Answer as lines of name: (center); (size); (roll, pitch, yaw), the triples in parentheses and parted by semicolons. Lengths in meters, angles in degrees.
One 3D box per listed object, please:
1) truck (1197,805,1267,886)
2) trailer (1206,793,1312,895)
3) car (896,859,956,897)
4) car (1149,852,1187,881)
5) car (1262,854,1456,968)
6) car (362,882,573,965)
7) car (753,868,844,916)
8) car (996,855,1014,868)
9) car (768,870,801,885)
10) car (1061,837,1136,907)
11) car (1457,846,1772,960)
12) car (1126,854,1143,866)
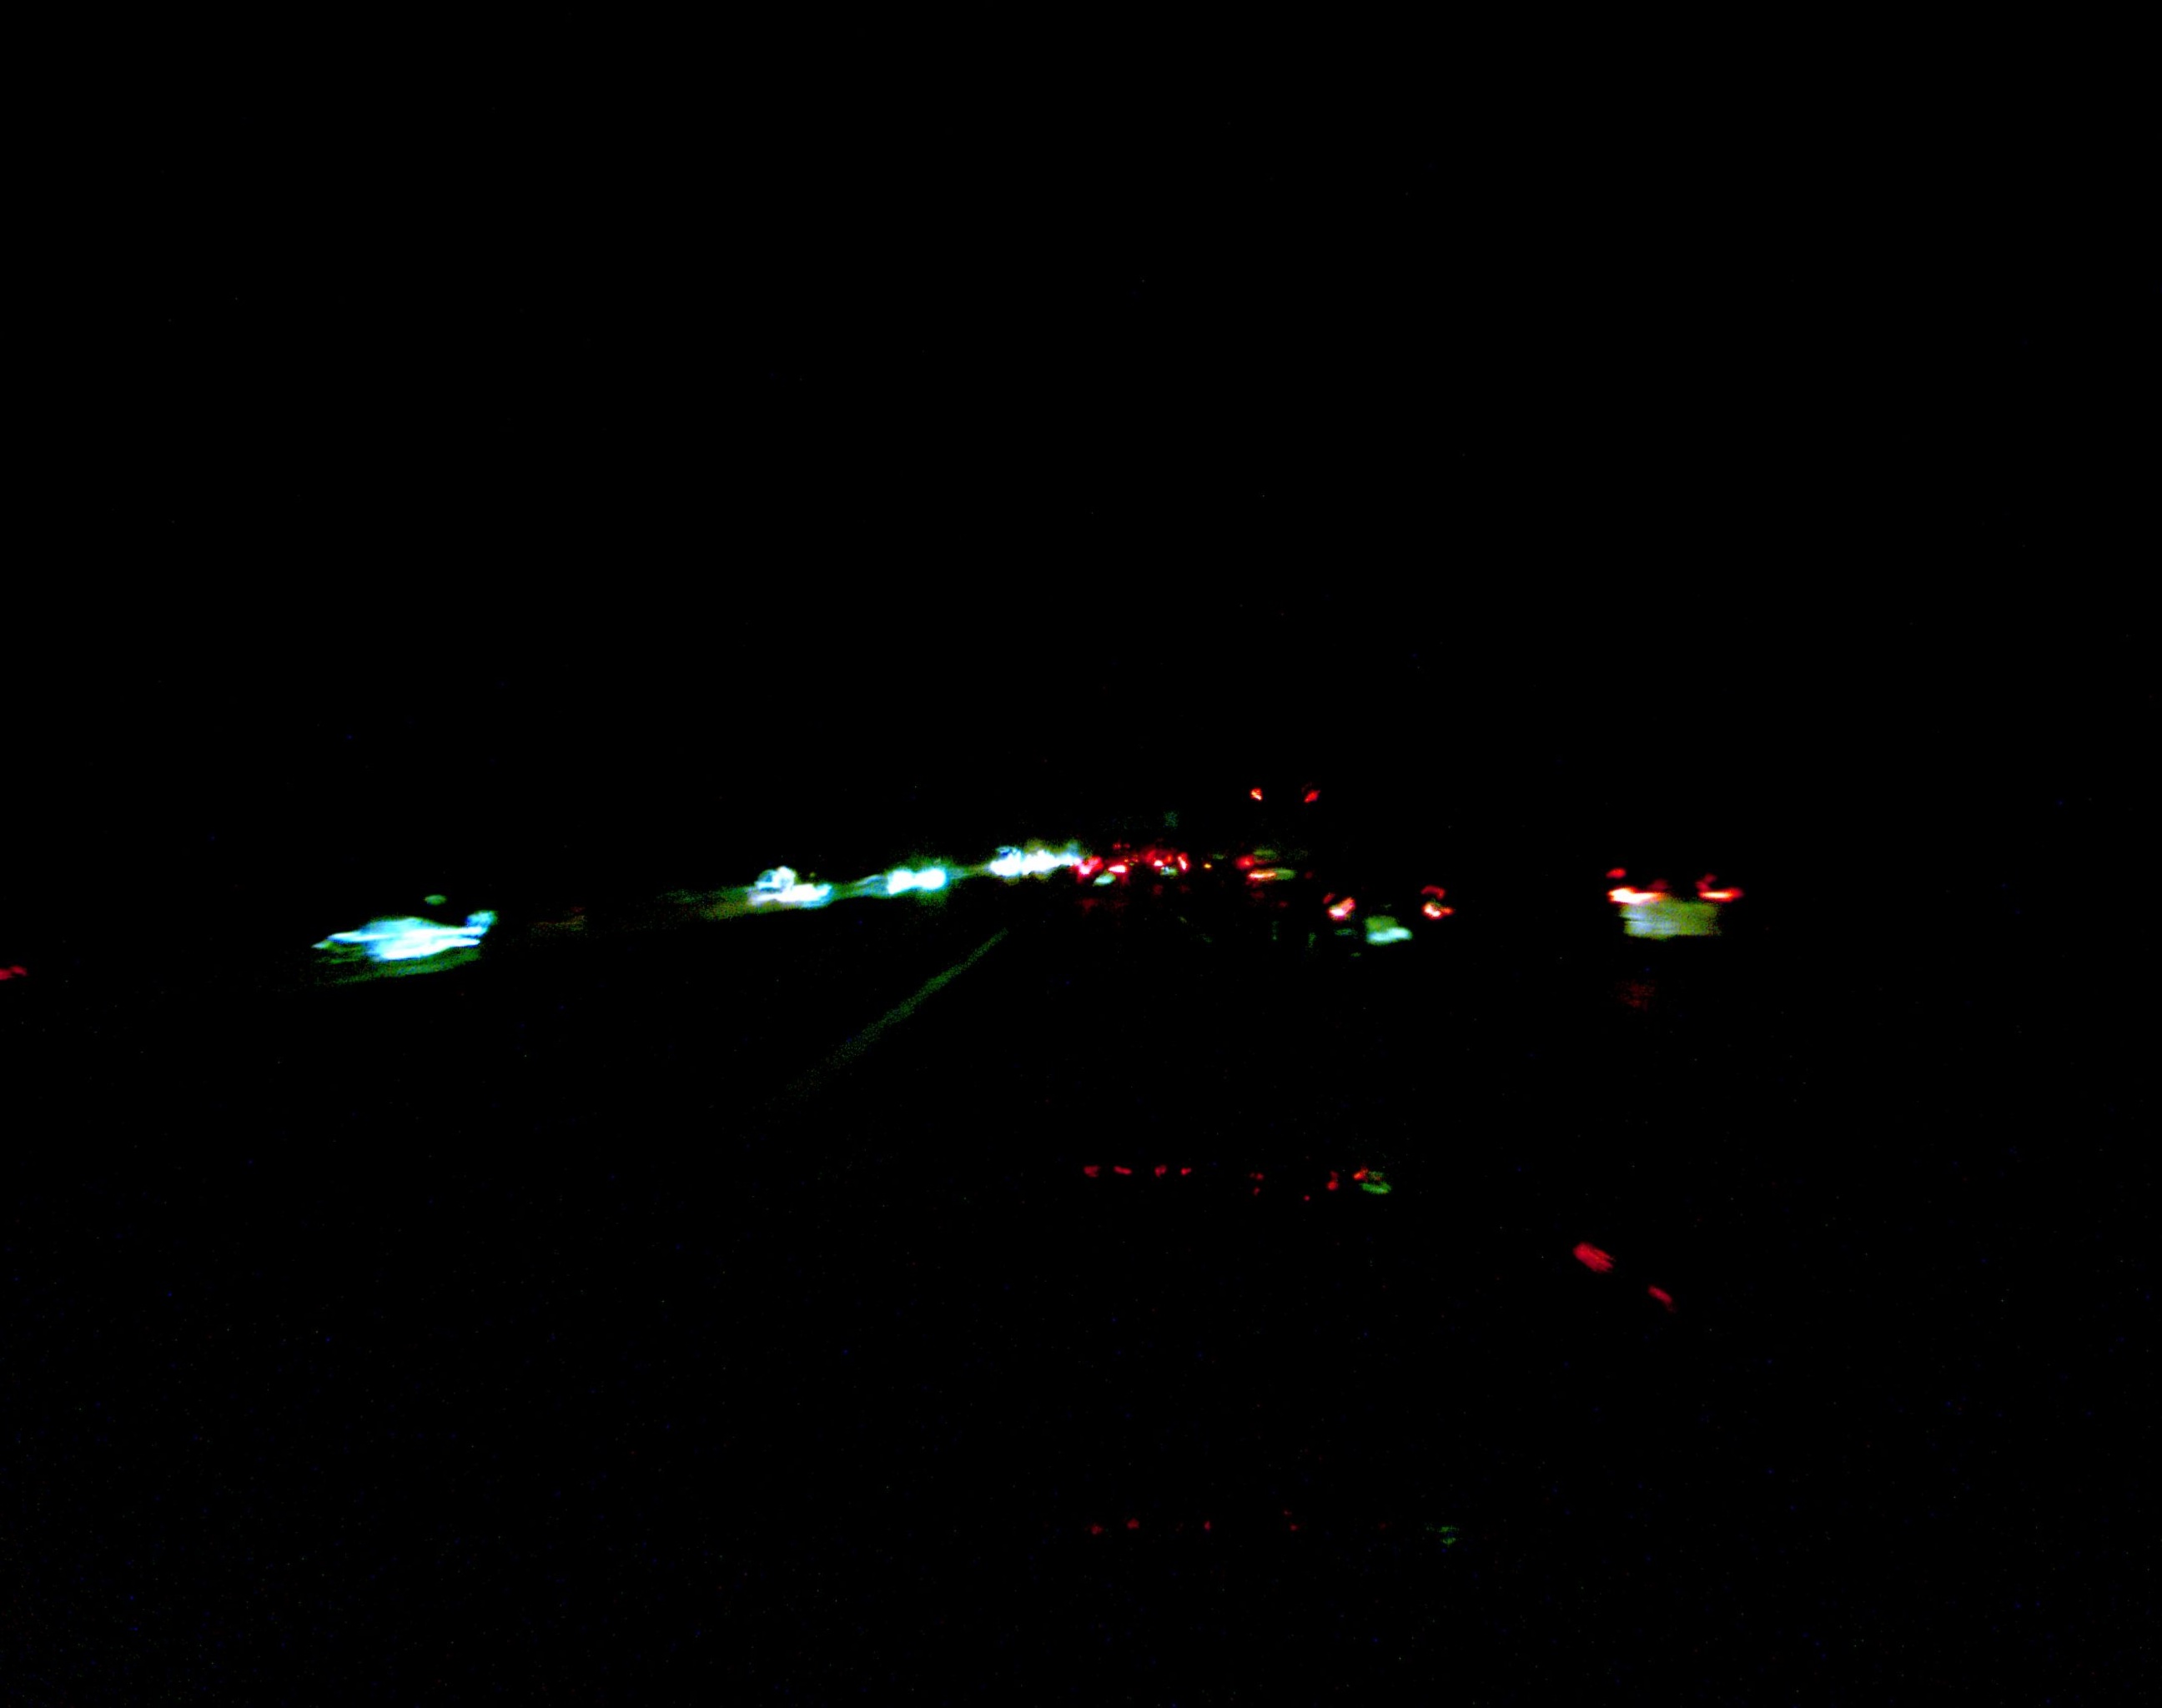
truck: (8.529, -0.429, 46.981); (2.793, 4.267, 7.450); (-1, 0, 1)
trailer: (8.306, -0.411, 39.791); (2.793, 4.212, 12.100); (-1, 0, 1)
car: (-7.490, 1.133, 39.763); (1.987, 1.616, 4.418); (-3, 0, 1)
car: (5.000, 0.707, 47.448); (1.877, 1.588, 4.001); (-1, 0, 1)
car: (3.901, 0.721, 12.078); (1.607, 1.412, 3.792); (-1, 0, 0)
car: (-15.358, 1.651, 20.772); (1.865, 1.616, 4.502); (-3, 0, 1)
car: (-11.570, 1.501, 33.721); (1.987, 1.616, 4.746); (-3, 0, 1)
car: (-9.791, 0.985, 105.253); (1.854, 1.581, 4.515); (0, 0, 2)
car: (-29.928, 2.367, 82.289); (1.858, 1.471, 4.350); (0, 0, -2)
car: (0.678, 0.675, 33.873); (2.701, 2.534, 5.830); (-3, 0, 0)
car: (8.125, 0.627, 13.135); (1.888, 1.486, 4.962); (0, 0, 0)
car: (6.997, 0.811, 107.220); (2.128, 1.618, 4.002); (0, -1, 2)
